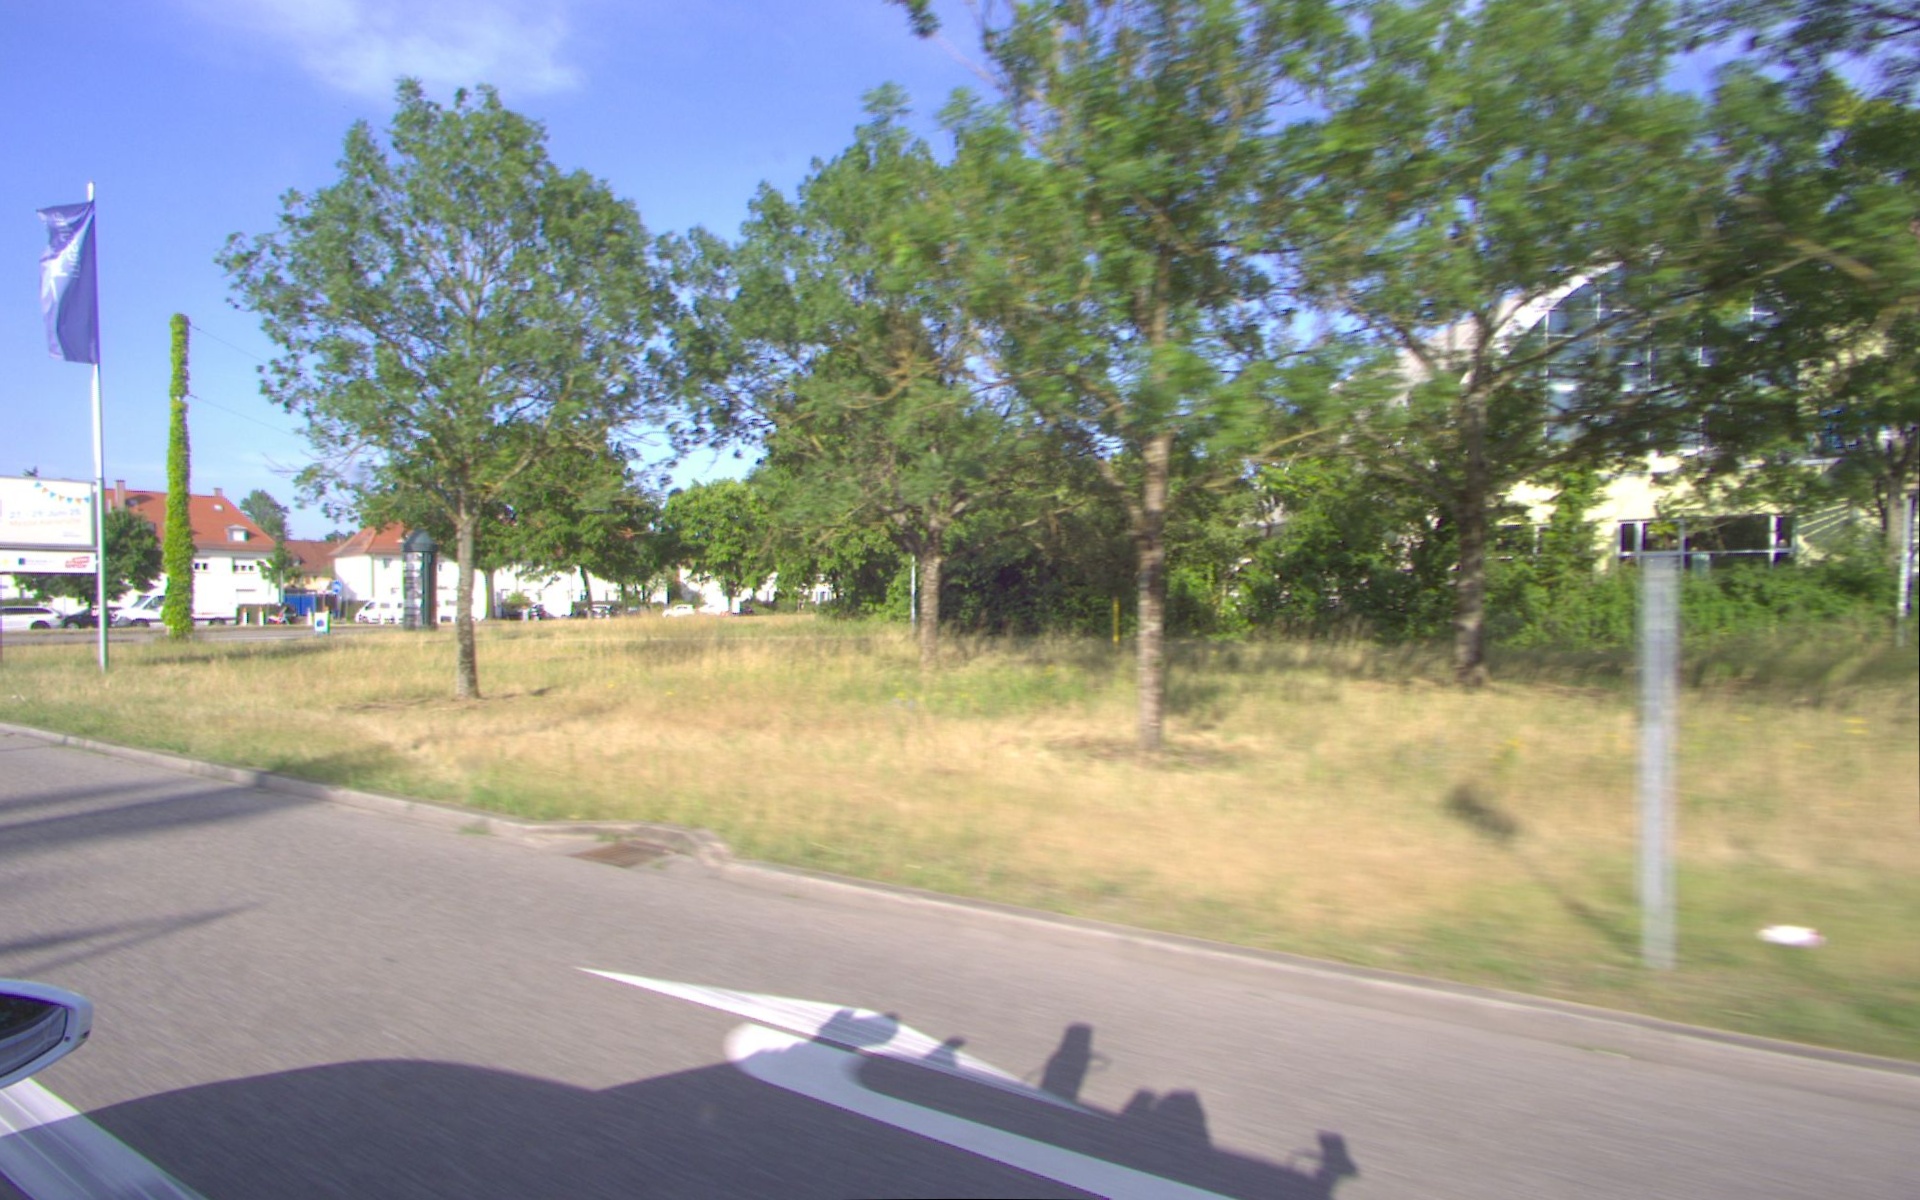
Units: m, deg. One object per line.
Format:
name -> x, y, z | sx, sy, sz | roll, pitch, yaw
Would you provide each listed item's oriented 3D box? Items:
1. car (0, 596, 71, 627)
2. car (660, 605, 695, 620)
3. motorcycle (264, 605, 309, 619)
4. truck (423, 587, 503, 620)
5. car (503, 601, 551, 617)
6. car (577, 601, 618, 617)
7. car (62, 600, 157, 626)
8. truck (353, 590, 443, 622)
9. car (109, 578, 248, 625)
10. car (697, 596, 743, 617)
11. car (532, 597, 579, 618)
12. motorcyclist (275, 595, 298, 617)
car -> -50.452, 0.589, 52.793 | 1.816, 1.584, 5.076 | 0, 0, 37
car -> -30.288, 1.340, 107.408 | 3.366, 1.534, 1.895 | 0, 0, -5
motorcycle -> -42.200, 0.736, 62.741 | 0.681, 0.878, 2.264 | 0, 0, 36
truck -> -43.872, 0.287, 88.541 | 5.964, 2.892, 1.894 | 0, 1, -9
car -> -40.560, 0.854, 93.918 | 3.837, 1.475, 1.894 | 0, 0, -12
car -> -35.898, 0.888, 99.221 | 3.432, 1.534, 1.895 | 0, 0, -5
car -> -50.076, 0.740, 59.014 | 1.694, 1.472, 3.972 | 0, 0, 37
truck -> -46.730, 0.481, 83.371 | 6.233, 2.558, 2.277 | 1, 0, 2
car -> -45.943, 0.078, 59.039 | 1.974, 2.618, 6.186 | 0, 0, 37
car -> -26.898, 0.700, 112.476 | 4.885, 2.261, 1.999 | 0, 0, -9
car -> -38.943, 0.700, 96.559 | 3.835, 1.945, 1.895 | 0, 0, -9
motorcyclist -> -42.198, 0.354, 62.729 | 0.671, 1.370, 1.062 | 0, 0, 36
